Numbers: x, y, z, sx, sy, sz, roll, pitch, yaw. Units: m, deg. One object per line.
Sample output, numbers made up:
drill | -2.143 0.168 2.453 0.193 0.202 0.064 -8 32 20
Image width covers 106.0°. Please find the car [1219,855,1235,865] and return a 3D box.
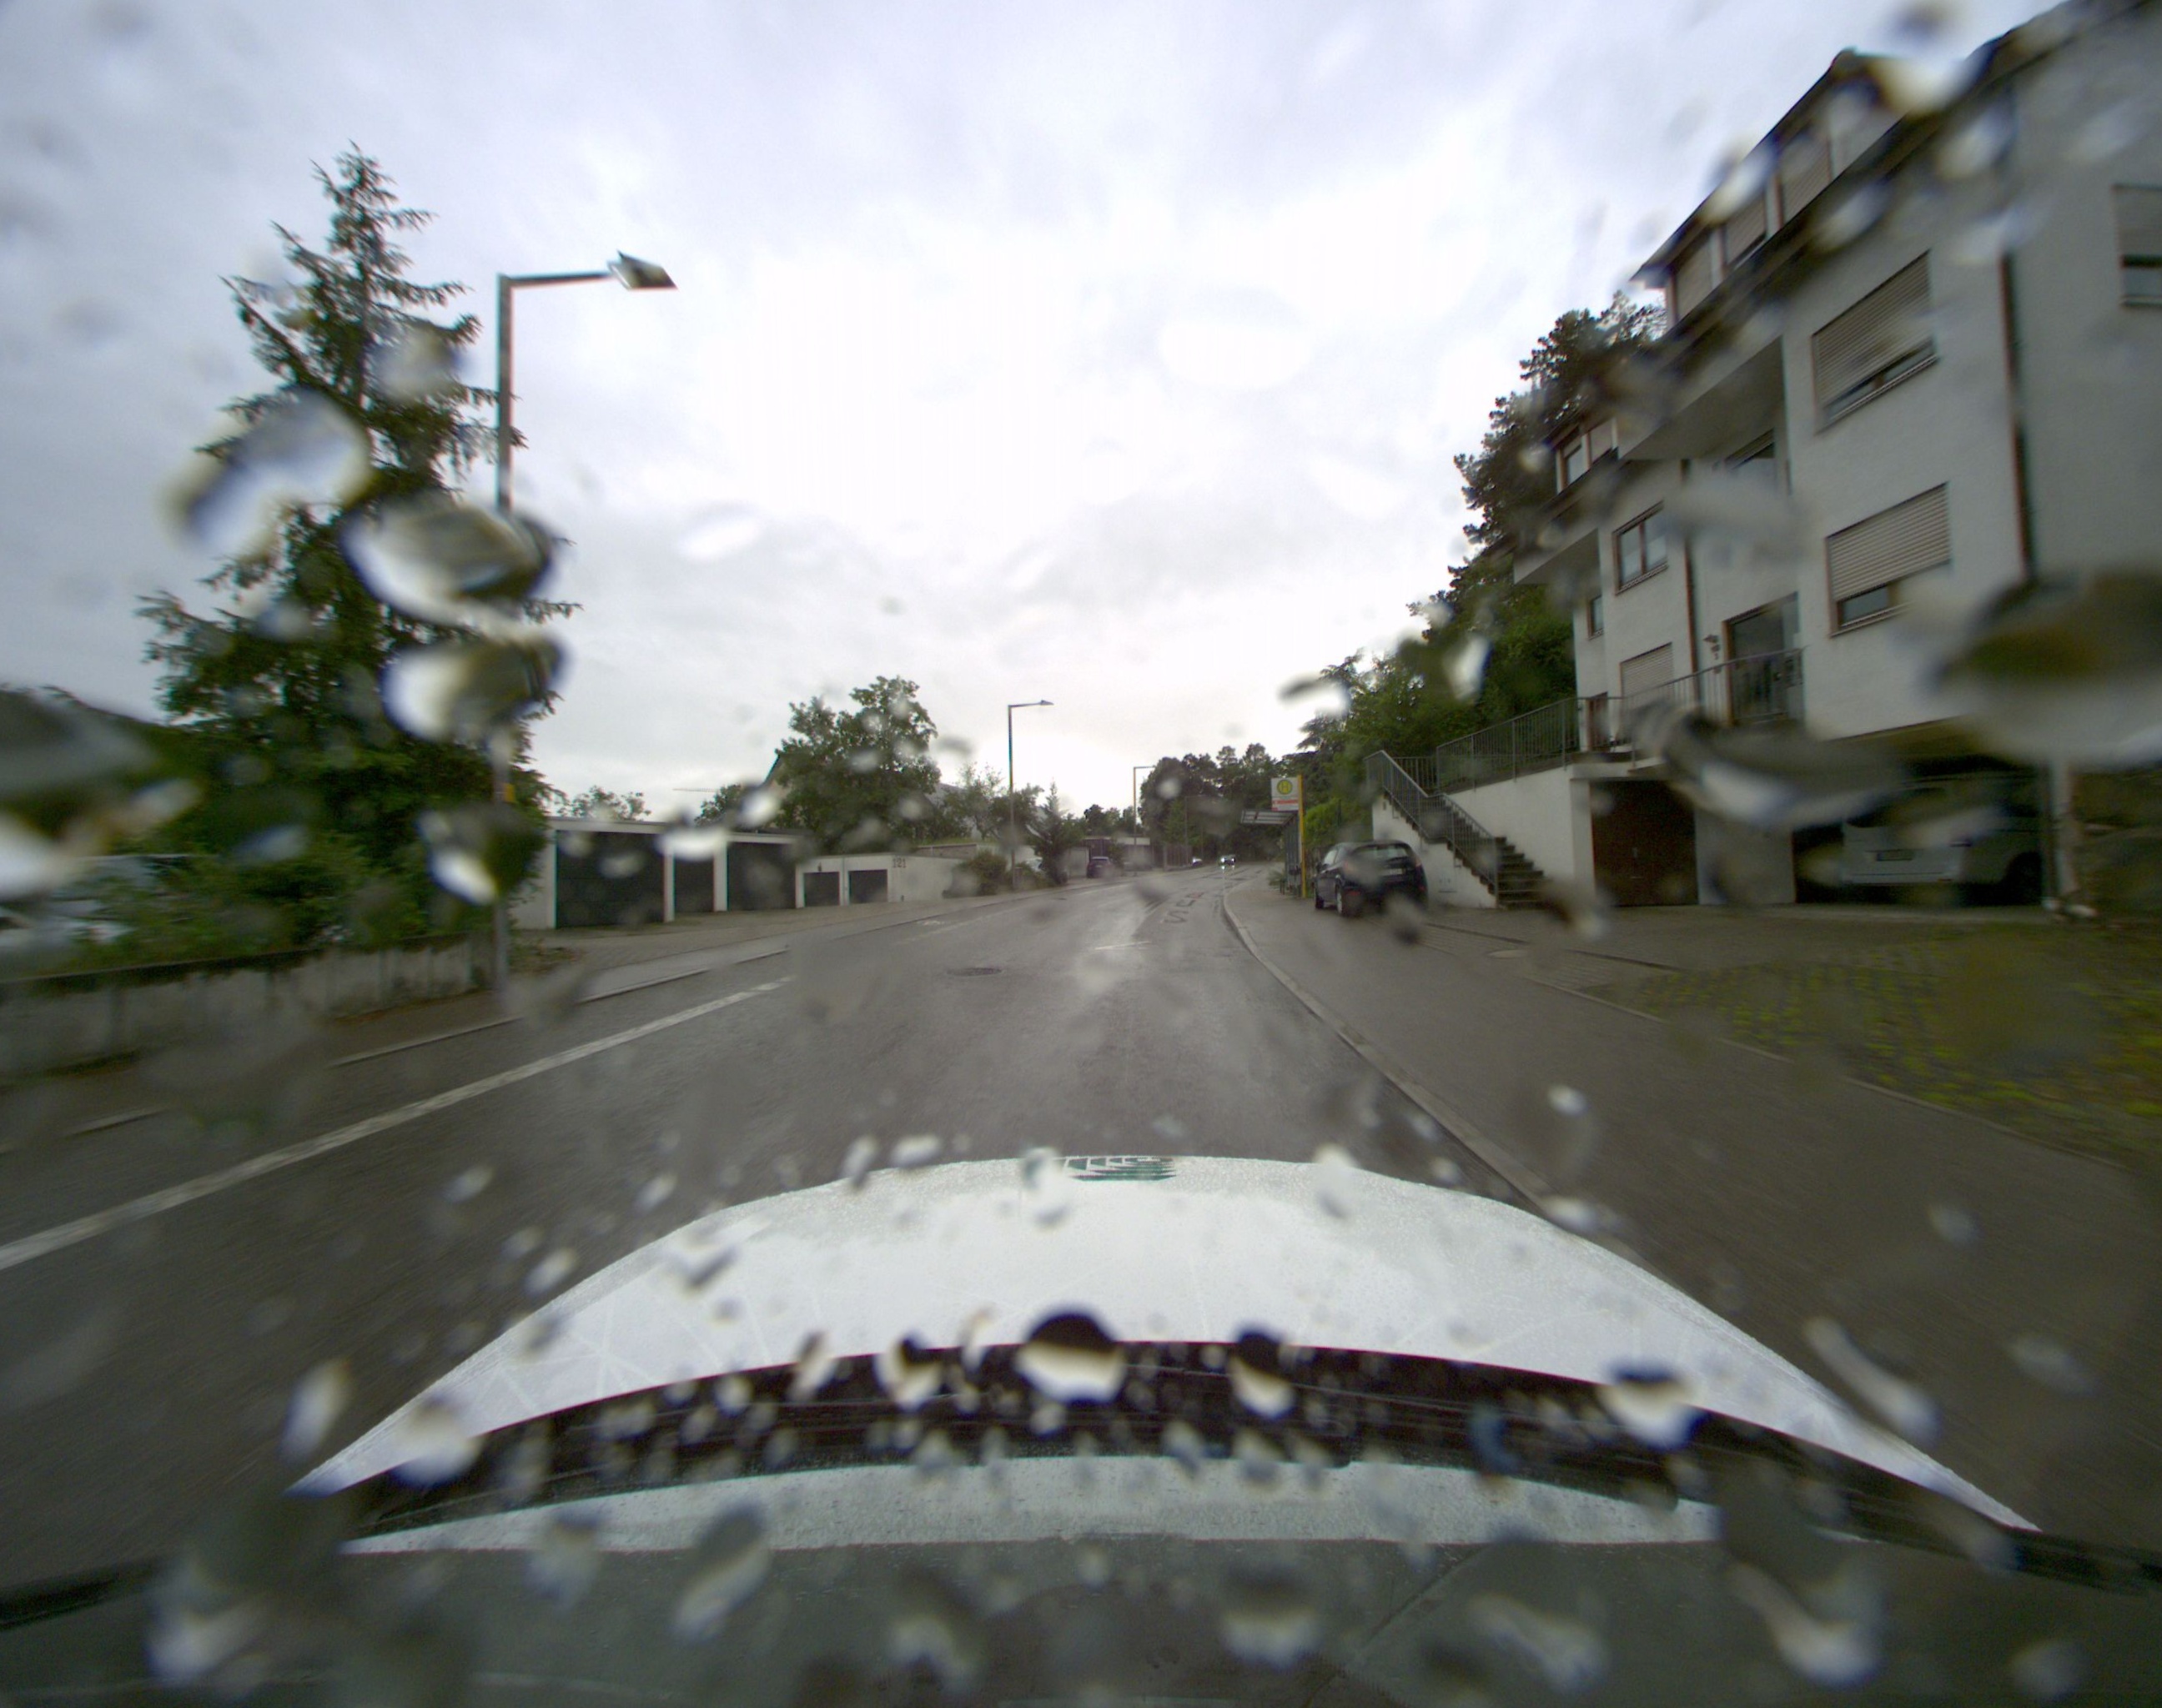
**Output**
car | 21.459 0.884 119.617 1.844 1.469 3.701 -1 0 2

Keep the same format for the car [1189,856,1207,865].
car | 19.588 1.131 136.888 1.846 1.460 4.255 -1 0 -8

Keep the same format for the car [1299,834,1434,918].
car | 5.878 0.428 17.259 1.696 1.454 4.027 -5 -1 6

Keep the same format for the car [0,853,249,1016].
car | -13.302 0.982 11.219 3.948 1.838 2.013 -2 -1 36

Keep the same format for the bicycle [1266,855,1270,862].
bicycle | 28.599 0.708 124.725 0.523 1.085 1.627 -1 -1 16

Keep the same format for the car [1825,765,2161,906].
car | 14.282 -0.262 12.523 3.976 1.954 1.927 -1 -1 -2

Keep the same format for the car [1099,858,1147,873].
car | 4.157 1.150 80.555 4.539 1.442 1.747 0 -1 -24

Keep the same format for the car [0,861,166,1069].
car | -9.094 0.848 5.195 1.725 1.551 4.009 -2 -1 8

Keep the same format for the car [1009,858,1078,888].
car | -1.993 1.028 44.759 1.689 1.553 4.416 -1 -1 29

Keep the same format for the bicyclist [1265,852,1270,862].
bicyclist | 28.610 0.478 124.742 0.715 1.615 0.909 -1 -1 14

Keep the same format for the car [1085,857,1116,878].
car | 1.465 0.918 58.468 1.824 1.405 4.267 -1 0 6
